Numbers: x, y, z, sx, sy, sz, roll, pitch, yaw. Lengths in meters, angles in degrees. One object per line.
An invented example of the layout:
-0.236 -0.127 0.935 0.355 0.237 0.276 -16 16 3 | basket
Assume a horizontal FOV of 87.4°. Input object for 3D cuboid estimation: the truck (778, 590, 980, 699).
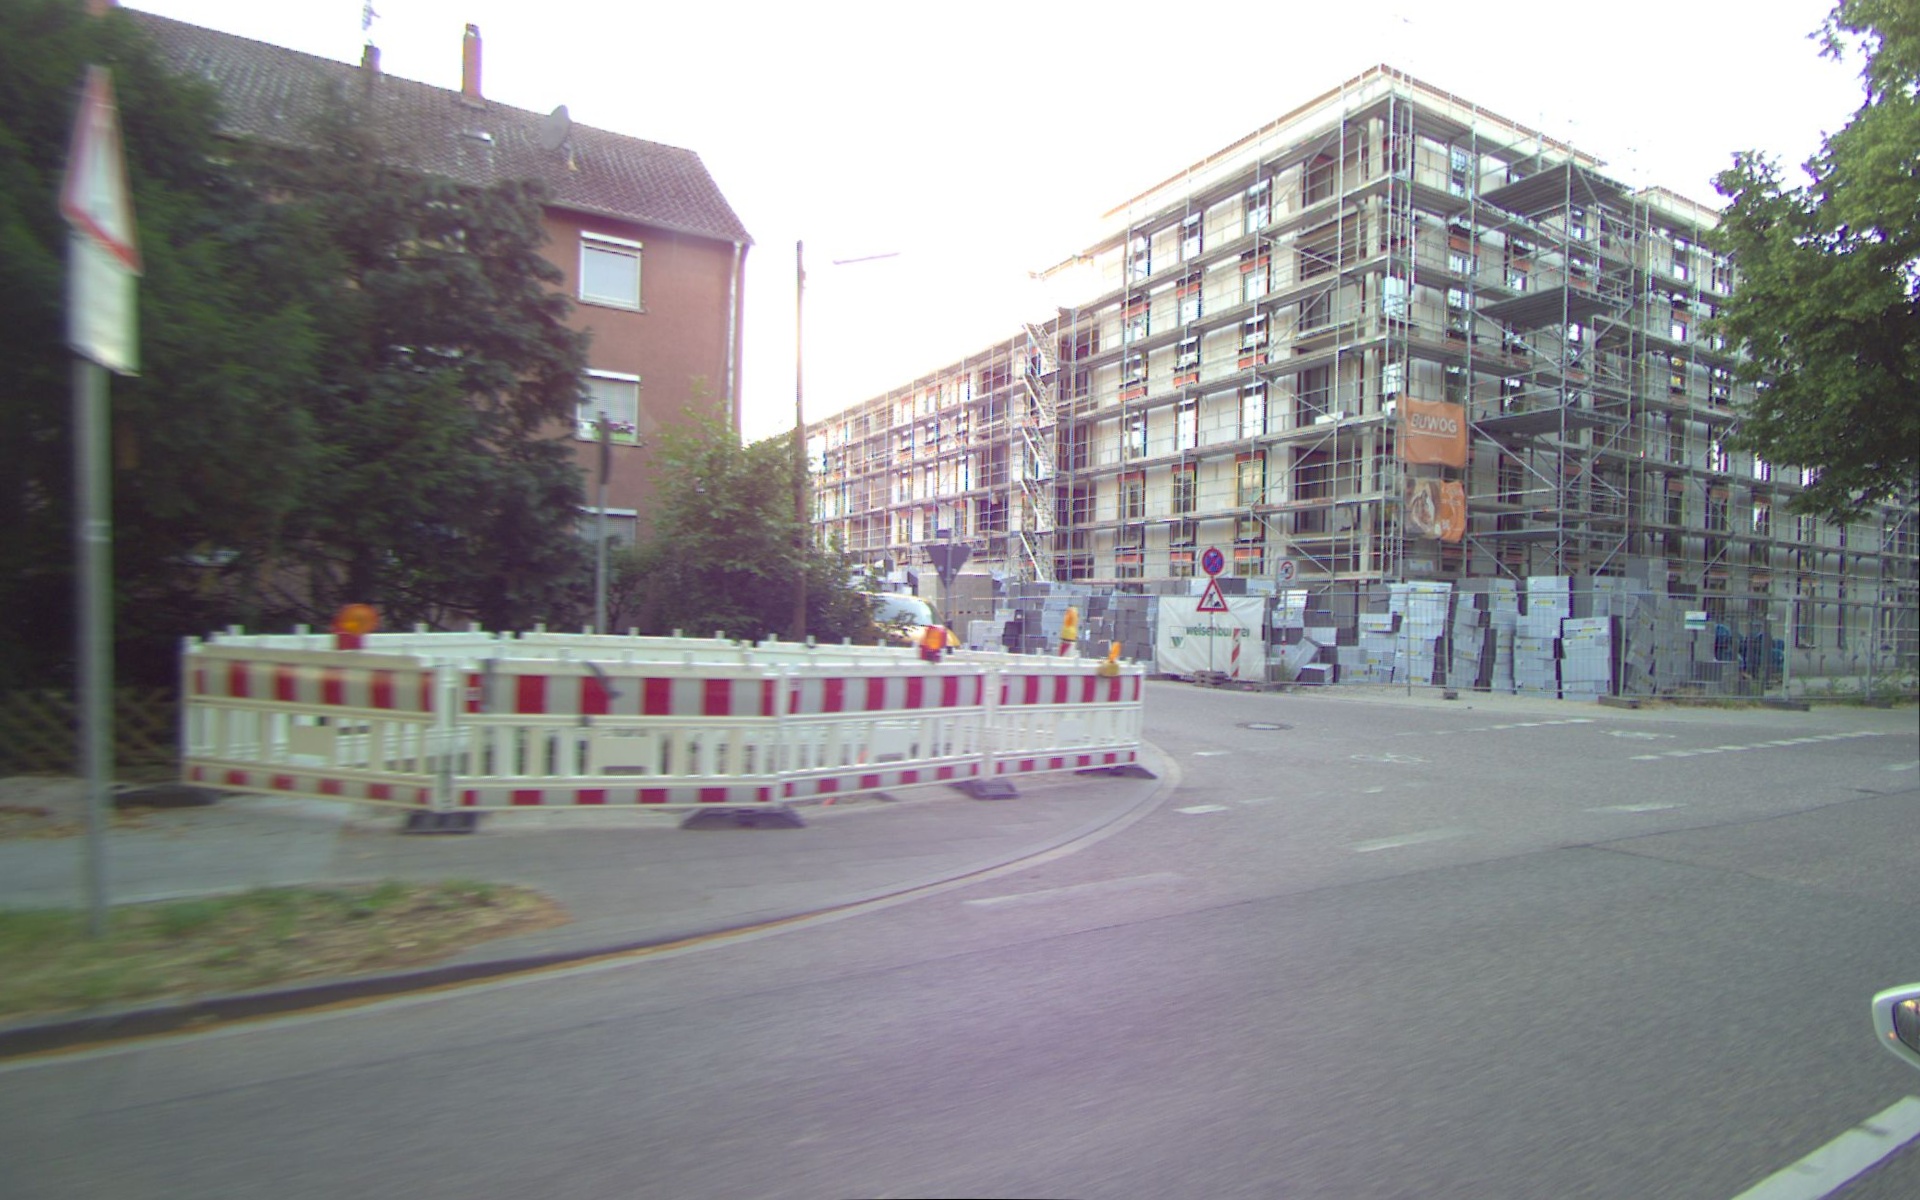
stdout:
-1.871 0.871 20.782 2.016 1.938 5.618 3 -2 -29 | truck
